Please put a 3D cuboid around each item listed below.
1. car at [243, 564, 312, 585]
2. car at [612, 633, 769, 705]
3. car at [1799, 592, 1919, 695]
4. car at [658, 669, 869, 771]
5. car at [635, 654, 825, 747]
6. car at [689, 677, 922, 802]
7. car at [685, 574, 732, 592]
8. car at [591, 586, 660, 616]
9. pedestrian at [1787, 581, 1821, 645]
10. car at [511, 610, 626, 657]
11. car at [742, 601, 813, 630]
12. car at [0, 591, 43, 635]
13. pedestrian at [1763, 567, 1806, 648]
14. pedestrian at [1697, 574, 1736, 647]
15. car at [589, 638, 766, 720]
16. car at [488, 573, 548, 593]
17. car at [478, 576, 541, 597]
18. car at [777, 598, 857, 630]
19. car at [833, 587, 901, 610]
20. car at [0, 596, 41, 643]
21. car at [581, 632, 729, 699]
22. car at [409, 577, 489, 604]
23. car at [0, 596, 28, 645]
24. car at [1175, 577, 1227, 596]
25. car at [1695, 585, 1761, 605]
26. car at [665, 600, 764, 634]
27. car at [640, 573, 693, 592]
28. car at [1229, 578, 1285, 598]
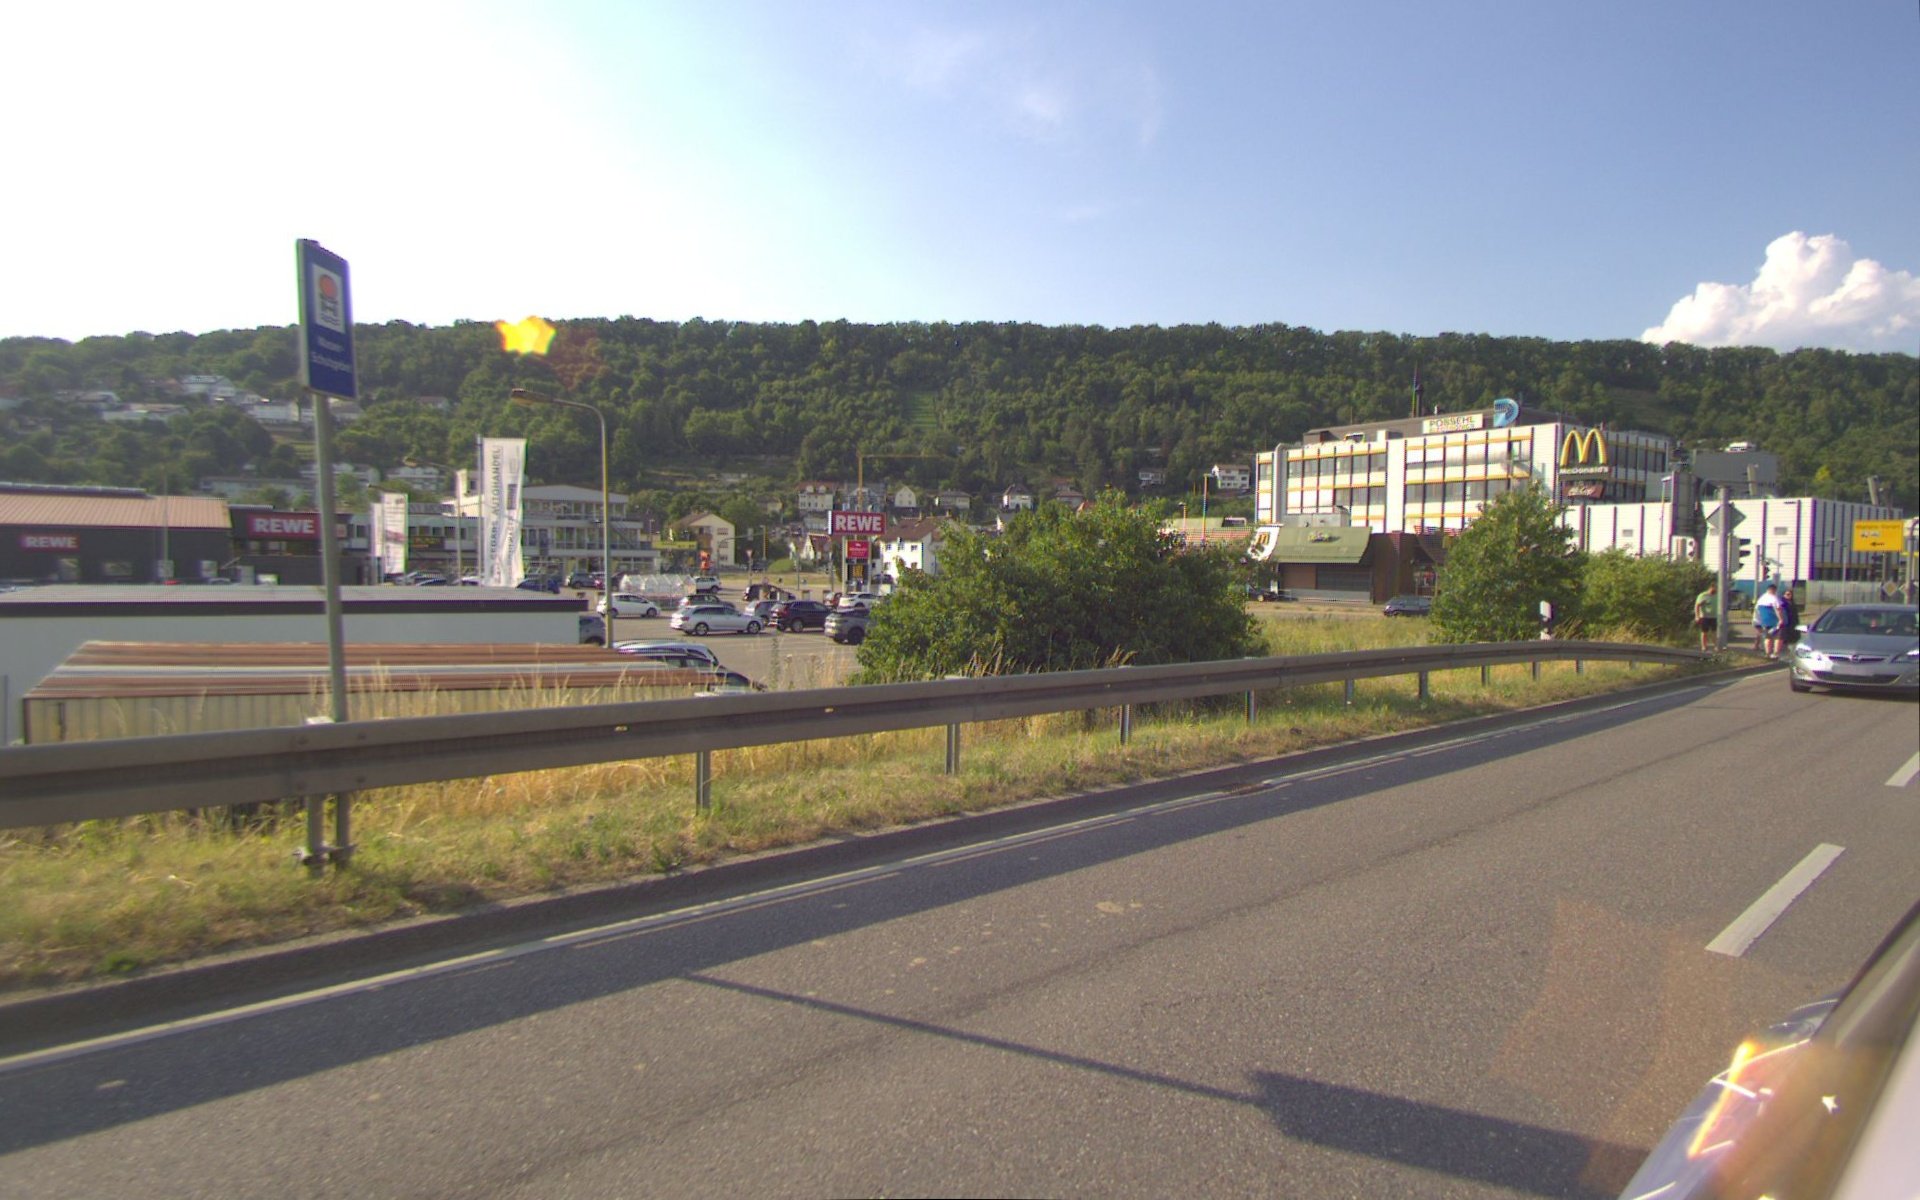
[{"bbox_3d":[-55.478,-2.080,82.293,4.506,1.607,1.835,-1,3,-42],"label":"car"},{"bbox_3d":[-6.751,1.668,25.458,3.518,1.503,1.533,-1,1,-36],"label":"car"},{"bbox_3d":[15.067,0.618,16.312,3.815,1.408,1.690,-2,2,-40],"label":"car"},{"bbox_3d":[-3.573,2.133,18.687,3.520,1.388,1.532,-2,1,-39],"label":"car"},{"bbox_3d":[-4.723,2.003,20.972,3.520,1.503,1.532,-2,1,-39],"label":"car"},{"bbox_3d":[-2.503,2.205,16.739,3.520,1.503,1.532,-2,1,-39],"label":"car"},{"bbox_3d":[-24.016,-1.636,96.771,3.931,1.676,1.789,-2,1,-41],"label":"car"},{"bbox_3d":[-21.012,0.051,63.607,3.691,1.772,1.802,-2,1,-40],"label":"car"},{"bbox_3d":[22.207,0.329,26.634,0.612,1.634,0.572,-1,3,-45],"label":"pedestrian"},{"bbox_3d":[-14.577,1.215,37.769,3.608,1.522,1.767,-2,1,-40],"label":"car"},{"bbox_3d":[-10.434,0.838,57.903,3.608,1.522,1.767,-2,1,-40],"label":"car"},{"bbox_3d":[-37.451,0.526,38.017,1.710,1.649,4.156,0,1,26],"label":"car"},{"bbox_3d":[19.861,0.165,24.367,0.846,1.906,0.620,-1,3,-42],"label":"pedestrian"},{"bbox_3d":[18.944,0.244,25.339,0.527,1.770,0.533,-1,5,-36],"label":"pedestrian"},{"bbox_3d":[-6.334,1.707,22.835,3.519,1.503,1.532,-2,1,-38],"label":"car"},{"bbox_3d":[-36.836,-1.435,84.319,4.266,1.582,1.835,-1,3,-42],"label":"car"},{"bbox_3d":[-36.074,-1.136,81.126,4.266,1.582,1.835,-1,3,-42],"label":"car"},{"bbox_3d":[-7.621,0.715,53.977,3.930,1.527,1.728,-2,1,-41],"label":"car"},{"bbox_3d":[-6.510,-0.119,71.205,4.353,1.544,2.001,-1,1,-33],"label":"car"},{"bbox_3d":[-35.279,0.710,35.537,1.710,1.649,4.156,0,1,26],"label":"car"},{"bbox_3d":[-8.219,1.726,27.387,3.518,1.503,1.533,-1,1,-36],"label":"car"},{"bbox_3d":[-30.045,-0.539,59.527,3.930,1.527,1.728,-1,0,-41],"label":"car"},{"bbox_3d":[-33.808,0.732,33.400,1.710,1.649,4.156,0,1,26],"label":"car"},{"bbox_3d":[20.494,-1.159,86.209,1.827,1.475,3.998,-2,3,-38],"label":"car"},{"bbox_3d":[60.706,-0.424,80.035,3.829,1.523,1.879,-1,1,-4],"label":"car"},{"bbox_3d":[-12.267,0.815,50.707,4.452,1.526,1.908,-2,1,-38],"label":"car"},{"bbox_3d":[-26.745,-1.621,92.218,4.266,1.582,1.835,-1,3,-42],"label":"car"},{"bbox_3d":[23.997,-0.967,81.820,1.827,1.475,3.998,-2,3,-38],"label":"car"}]
